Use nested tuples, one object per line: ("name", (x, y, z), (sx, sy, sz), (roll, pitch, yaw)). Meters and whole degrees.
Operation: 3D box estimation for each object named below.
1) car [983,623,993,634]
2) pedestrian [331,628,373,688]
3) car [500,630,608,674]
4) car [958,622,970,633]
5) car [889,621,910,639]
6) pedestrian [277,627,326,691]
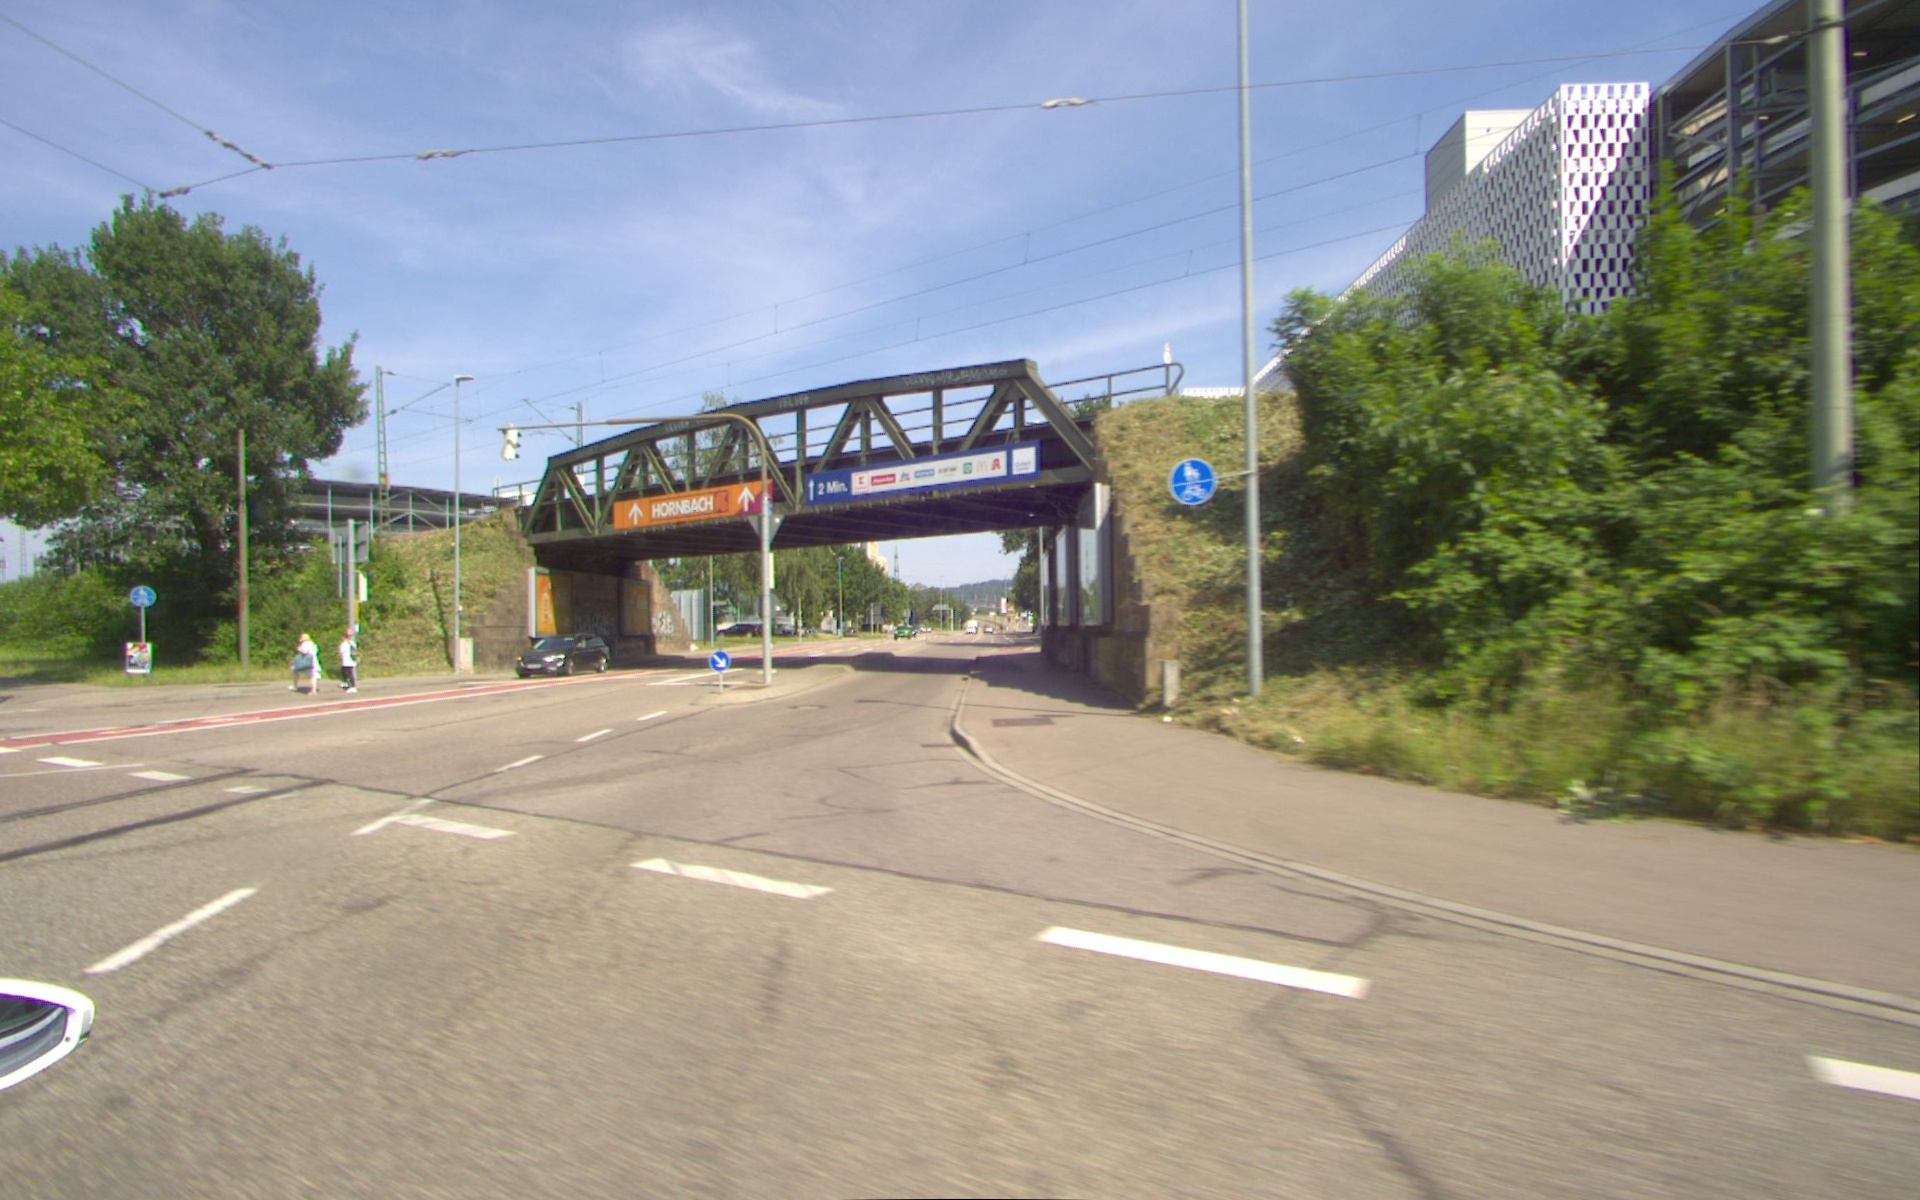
("car", (5.587, 5.660, 200.050), (1.961, 2.039, 4.001), (0, -1, 3))
("pedestrian", (-16.474, 1.555, 27.141), (0.767, 1.600, 0.727), (0, -1, 36))
("car", (-14.129, 1.779, 35.178), (1.961, 1.427, 4.502), (0, -1, 0))
("car", (0.765, 4.825, 176.011), (1.961, 2.039, 4.001), (0, -1, 3))
("car", (-6.893, 3.388, 113.888), (1.961, 2.039, 4.001), (0, -1, 3))
("pedestrian", (-17.168, 1.514, 26.113), (0.767, 1.632, 0.865), (0, -1, 36))
